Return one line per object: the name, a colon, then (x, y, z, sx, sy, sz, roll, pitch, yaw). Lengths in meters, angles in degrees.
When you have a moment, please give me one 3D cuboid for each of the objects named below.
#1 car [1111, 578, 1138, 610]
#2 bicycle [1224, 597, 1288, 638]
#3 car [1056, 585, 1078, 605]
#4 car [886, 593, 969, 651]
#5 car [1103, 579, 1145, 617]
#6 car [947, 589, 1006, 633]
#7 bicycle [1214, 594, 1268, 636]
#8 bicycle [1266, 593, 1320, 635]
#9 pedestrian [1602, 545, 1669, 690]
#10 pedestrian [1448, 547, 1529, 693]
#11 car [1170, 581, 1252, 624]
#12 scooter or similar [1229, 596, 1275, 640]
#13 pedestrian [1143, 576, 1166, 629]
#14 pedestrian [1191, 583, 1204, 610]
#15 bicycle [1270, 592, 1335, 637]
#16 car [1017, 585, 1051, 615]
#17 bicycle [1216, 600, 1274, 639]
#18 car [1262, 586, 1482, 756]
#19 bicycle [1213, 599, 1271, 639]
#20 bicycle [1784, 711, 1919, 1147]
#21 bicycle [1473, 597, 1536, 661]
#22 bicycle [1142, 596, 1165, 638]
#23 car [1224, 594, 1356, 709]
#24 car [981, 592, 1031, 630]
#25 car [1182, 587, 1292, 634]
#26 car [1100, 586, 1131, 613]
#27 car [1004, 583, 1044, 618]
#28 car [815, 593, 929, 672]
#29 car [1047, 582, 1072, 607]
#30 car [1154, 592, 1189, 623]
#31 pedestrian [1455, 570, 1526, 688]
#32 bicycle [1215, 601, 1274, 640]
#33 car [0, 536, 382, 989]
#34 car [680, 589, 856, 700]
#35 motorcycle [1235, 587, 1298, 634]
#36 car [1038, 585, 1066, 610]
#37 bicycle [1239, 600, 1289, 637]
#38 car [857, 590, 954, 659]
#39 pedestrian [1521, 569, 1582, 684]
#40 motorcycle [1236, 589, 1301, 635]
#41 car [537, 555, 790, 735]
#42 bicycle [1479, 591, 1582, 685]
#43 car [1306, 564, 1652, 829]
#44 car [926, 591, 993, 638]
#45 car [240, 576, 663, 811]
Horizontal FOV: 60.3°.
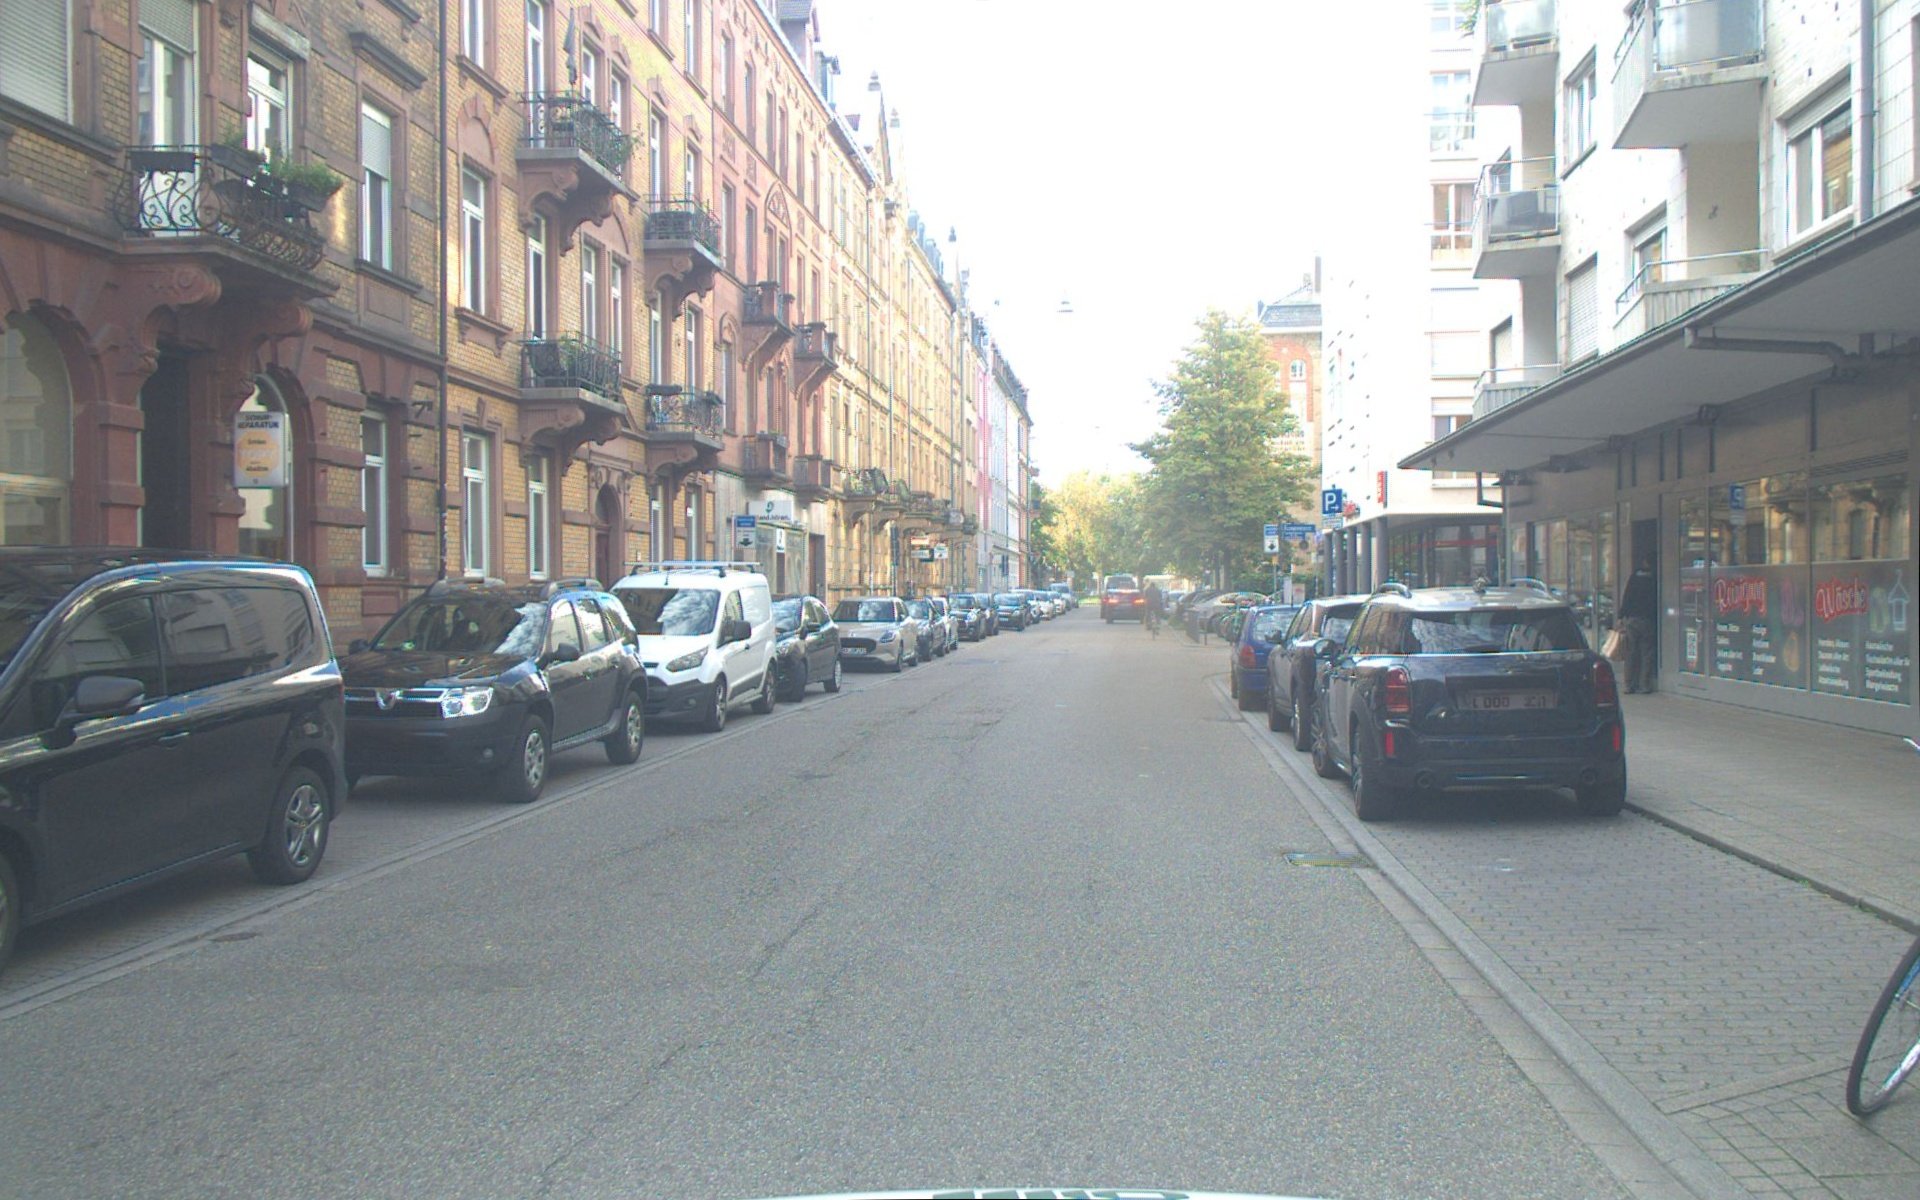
car: (11.057, -0.414, 111.082, 1.744, 2.055, 3.890, 1, 1, 5)
bicycle: (8.436, 0.504, 47.142, 1.729, 1.075, 0.411, -3, 0, 1)
car: (9.030, -0.419, 139.315, 1.654, 1.577, 3.869, 1, 0, 5)
car: (-0.821, 0.553, 43.656, 1.654, 1.411, 3.870, 1, 0, 7)
car: (7.920, -0.093, 79.574, 1.923, 1.771, 4.044, 0, 0, 6)
car: (0.604, 0.369, 58.603, 1.654, 1.462, 3.870, 1, 0, 7)
bicycle: (8.228, 0.437, 48.489, 1.464, 1.166, 0.411, -3, 0, 1)
bicycle: (9.741, 0.419, 48.437, 1.463, 1.166, 0.412, -2, 0, 6)
pedestrian: (8.984, 0.227, 21.991, 0.695, 1.893, 0.642, 0, 0, 35)
pedestrian: (6.615, 0.238, 20.746, 0.599, 1.756, 1.126, -3, 0, 1)
car: (12.435, 0.107, 81.952, 3.902, 1.712, 1.740, -2, 8, 10)
scooter or similar: (8.204, 0.506, 46.436, 1.186, 1.167, 0.377, -2, 1, 38)
pedestrian: (6.294, 0.076, 53.568, 0.703, 1.679, 0.931, 1, 0, 7)
pedestrian: (19.627, -0.286, 136.663, 0.974, 2.269, 0.899, 1, 0, 7)
bicycle: (9.638, 0.398, 46.605, 1.728, 1.182, 0.651, -2, 0, 8)
car: (4.160, 0.003, 92.784, 1.654, 1.577, 3.869, 1, 0, 5)
bicycle: (8.915, 0.614, 51.802, 1.728, 1.138, 0.412, -2, 0, 9)
car: (4.284, 0.680, 17.742, 1.652, 1.605, 3.904, -1, 0, 5)
bicycle: (8.979, 0.605, 52.698, 1.756, 1.179, 0.500, -2, 0, 9)
bicycle: (3.378, 0.864, 4.728, 1.752, 1.089, 0.586, -2, 1, -4)
bicycle: (10.704, 0.557, 32.567, 0.523, 1.212, 1.933, -1, 0, -2)
bicycle: (6.276, 0.534, 53.495, 0.703, 1.296, 1.885, 1, 1, 7)
car: (4.662, 0.677, 23.771, 1.561, 1.464, 4.033, -1, 0, 7)
car: (1.929, 0.433, 68.598, 1.654, 1.393, 3.870, 4, 0, 7)
car: (10.217, 0.386, 61.191, 3.686, 1.573, 1.729, -2, -1, -4)
car: (9.133, -0.032, 97.129, 1.759, 1.497, 3.890, 1, 1, 5)
car: (3.149, 0.008, 81.005, 1.654, 1.577, 3.870, 2, 1, 5)
car: (-1.772, 0.630, 34.518, 1.704, 1.509, 3.986, 1, 0, 7)
car: (7.493, -0.406, 124.426, 1.654, 1.853, 3.869, 1, 0, 5)
car: (12.033, 0.422, 94.330, 1.889, 1.666, 4.003, 1, 1, 6)
pedestrian: (7.475, 0.403, 23.324, 0.806, 1.616, 0.781, -1, 0, 8)
bicycle: (8.777, 0.621, 51.060, 1.728, 1.118, 0.412, -2, 0, 9)
car: (-4.547, 0.611, 7.763, 1.723, 1.804, 4.409, 2, 0, 5)
car: (-2.808, 0.620, 25.096, 1.704, 1.509, 3.986, 1, 0, 7)
motorcycle: (10.901, 0.369, 58.853, 2.104, 1.557, 0.687, -2, 0, 11)
car: (6.023, -0.152, 107.904, 1.654, 1.577, 3.869, 1, 0, 5)
bicycle: (10.503, 0.632, 57.204, 1.629, 1.179, 0.557, -2, 0, 8)
car: (-1.252, 0.549, 39.422, 1.704, 1.509, 3.986, 1, 0, 7)
pedestrian: (8.535, 0.376, 23.892, 0.630, 1.616, 0.781, -2, 0, 8)
motorcycle: (10.423, 0.396, 55.858, 2.104, 1.460, 0.766, -2, 0, 11)
car: (-3.415, 0.454, 19.951, 1.879, 1.904, 4.440, 0, 1, 5)
bicycle: (8.522, 0.533, 24.831, 0.899, 1.313, 2.501, -2, 0, 6)
car: (3.745, 0.612, 12.625, 1.754, 1.633, 3.927, -3, 0, 7)
car: (0.030, 0.434, 52.441, 1.654, 1.411, 3.870, 1, 0, 7)
car: (-4.016, 0.652, 13.882, 1.951, 1.666, 4.148, 0, 0, 5)
